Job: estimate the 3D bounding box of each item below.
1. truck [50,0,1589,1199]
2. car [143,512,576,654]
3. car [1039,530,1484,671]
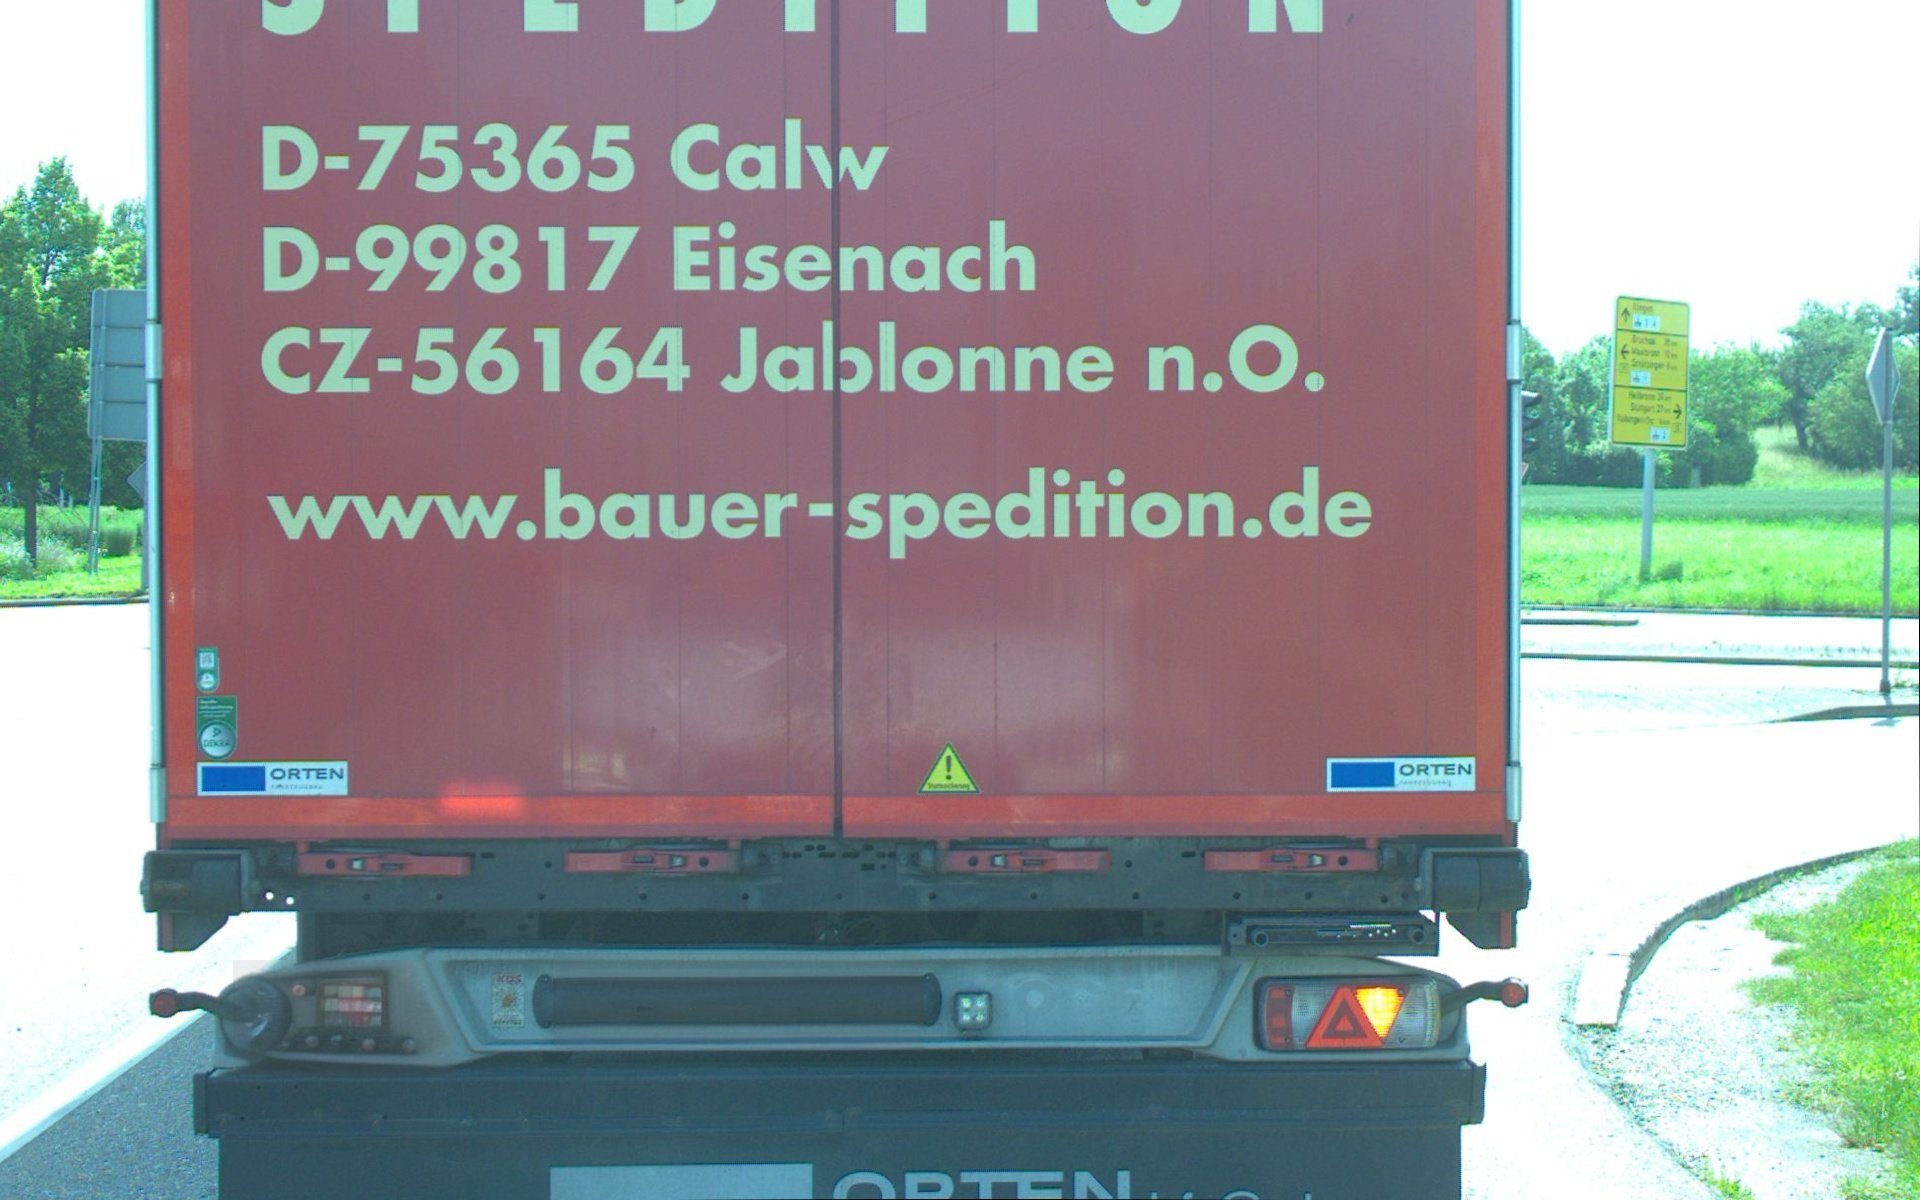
[{"bbox_3d":[-0.380,-0.798,14.444,2.734,3.911,16.627,0,1,-1],"label":"truck"},{"bbox_3d":[-6.498,-0.199,37.329,4.269,1.424,1.741,1,1,14],"label":"car"},{"bbox_3d":[3.073,-0.009,34.785,4.269,1.300,1.741,1,1,13],"label":"car"}]
